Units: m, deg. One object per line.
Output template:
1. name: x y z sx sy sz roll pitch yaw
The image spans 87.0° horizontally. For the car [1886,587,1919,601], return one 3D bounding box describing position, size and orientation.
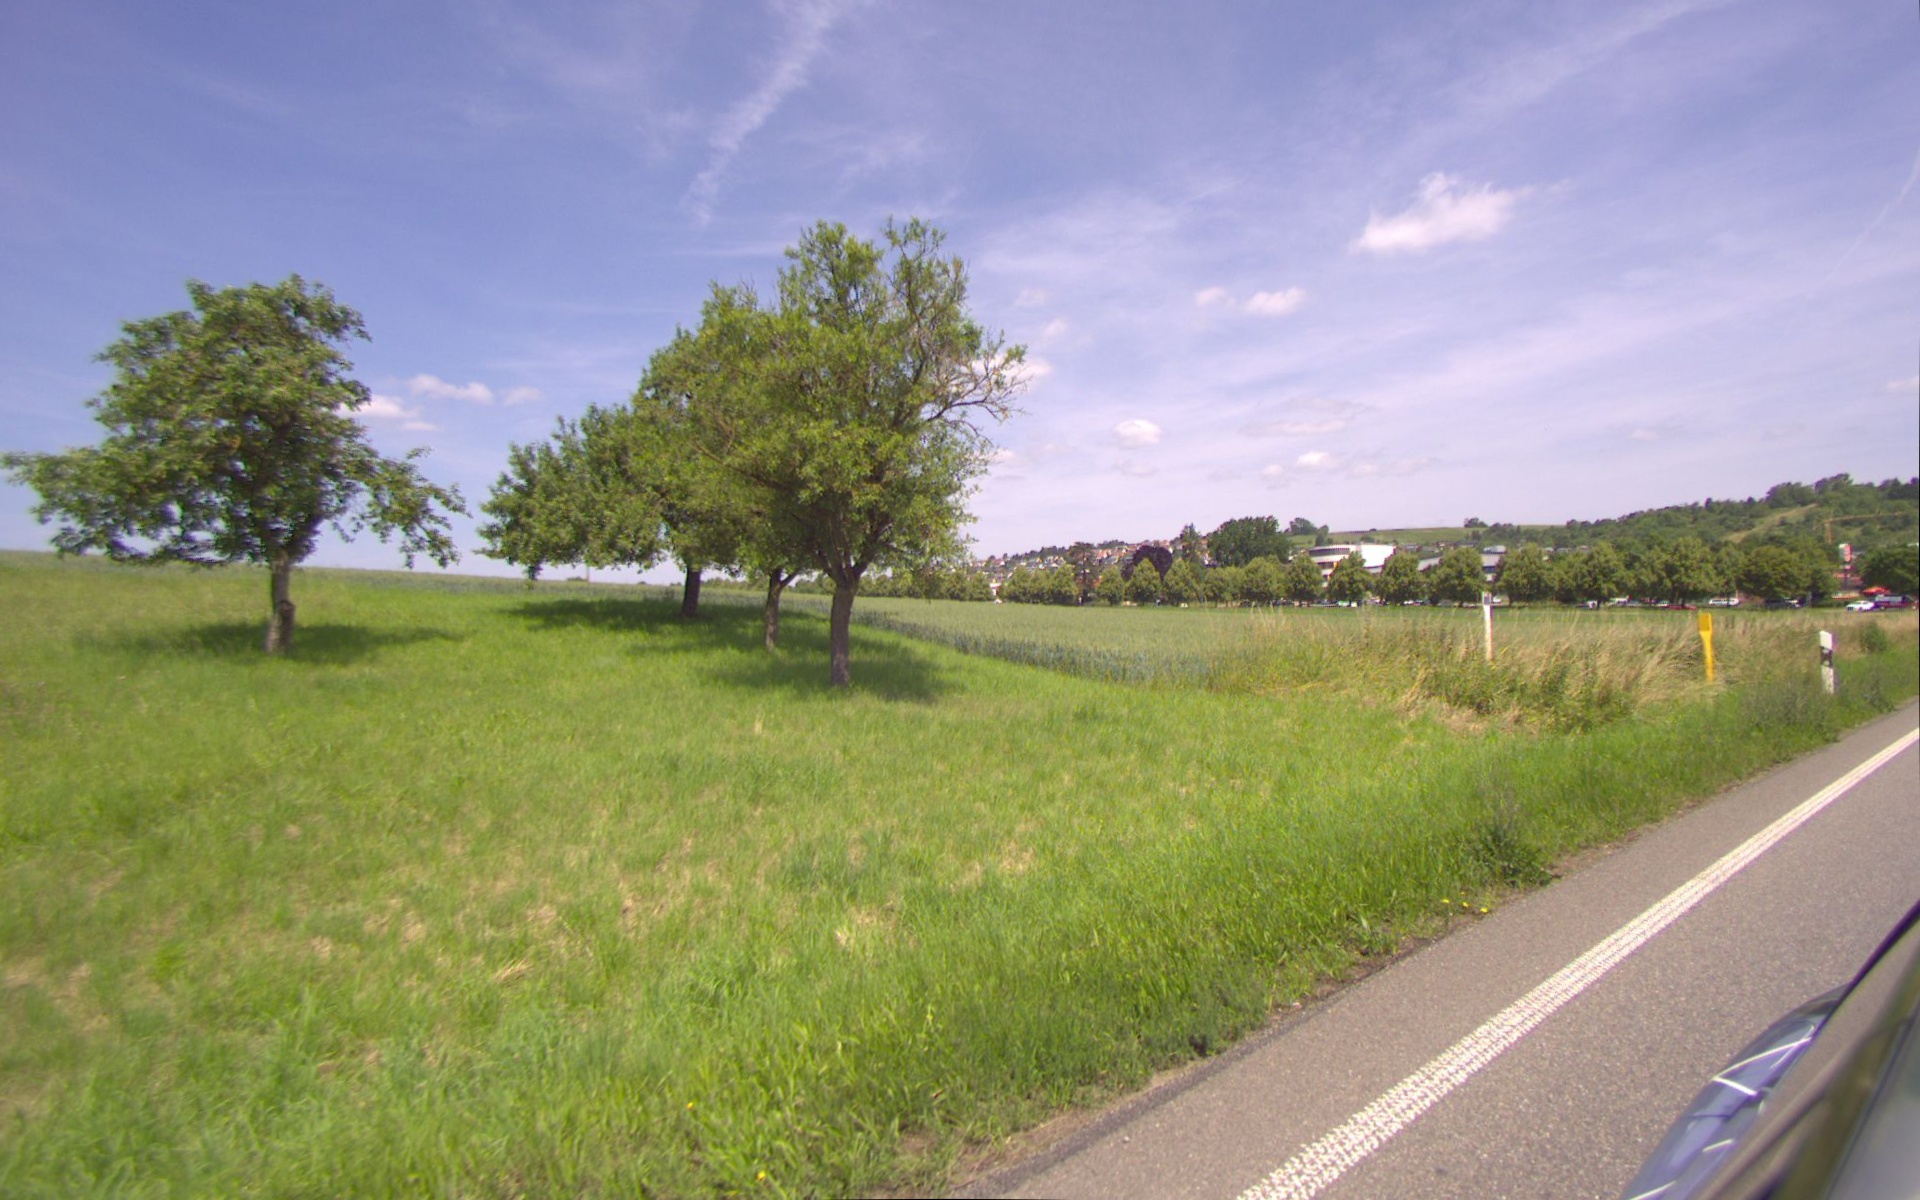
1. car: 140.078 -0.849 149.770 1.857 2.039 4.459 -1 2 -44
